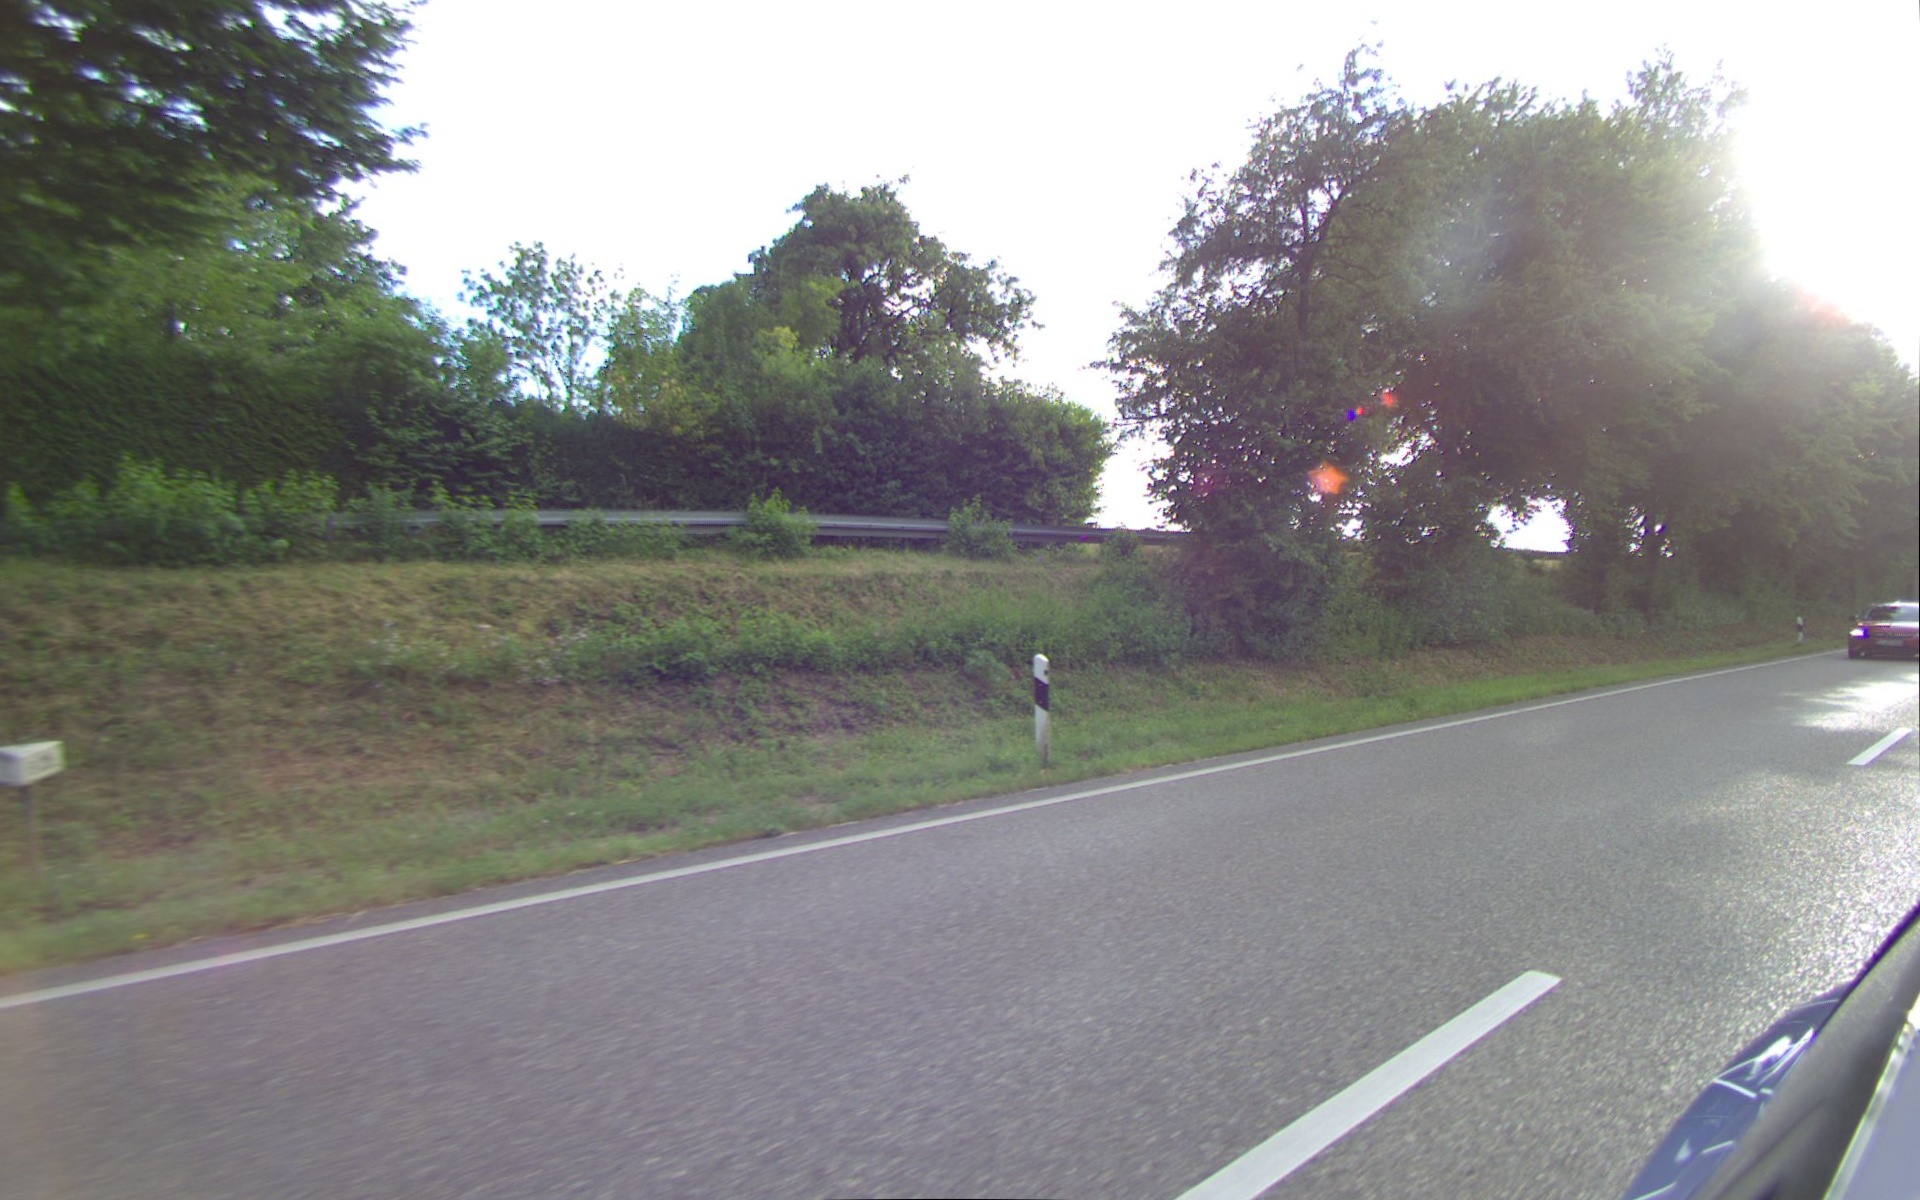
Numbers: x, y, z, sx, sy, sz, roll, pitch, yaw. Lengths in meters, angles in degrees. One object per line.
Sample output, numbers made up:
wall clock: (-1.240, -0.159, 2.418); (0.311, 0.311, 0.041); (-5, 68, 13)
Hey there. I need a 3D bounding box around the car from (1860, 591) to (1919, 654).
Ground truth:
car: (24.610, 0.588, 25.939); (3.660, 1.494, 1.723); (1, 1, -39)
